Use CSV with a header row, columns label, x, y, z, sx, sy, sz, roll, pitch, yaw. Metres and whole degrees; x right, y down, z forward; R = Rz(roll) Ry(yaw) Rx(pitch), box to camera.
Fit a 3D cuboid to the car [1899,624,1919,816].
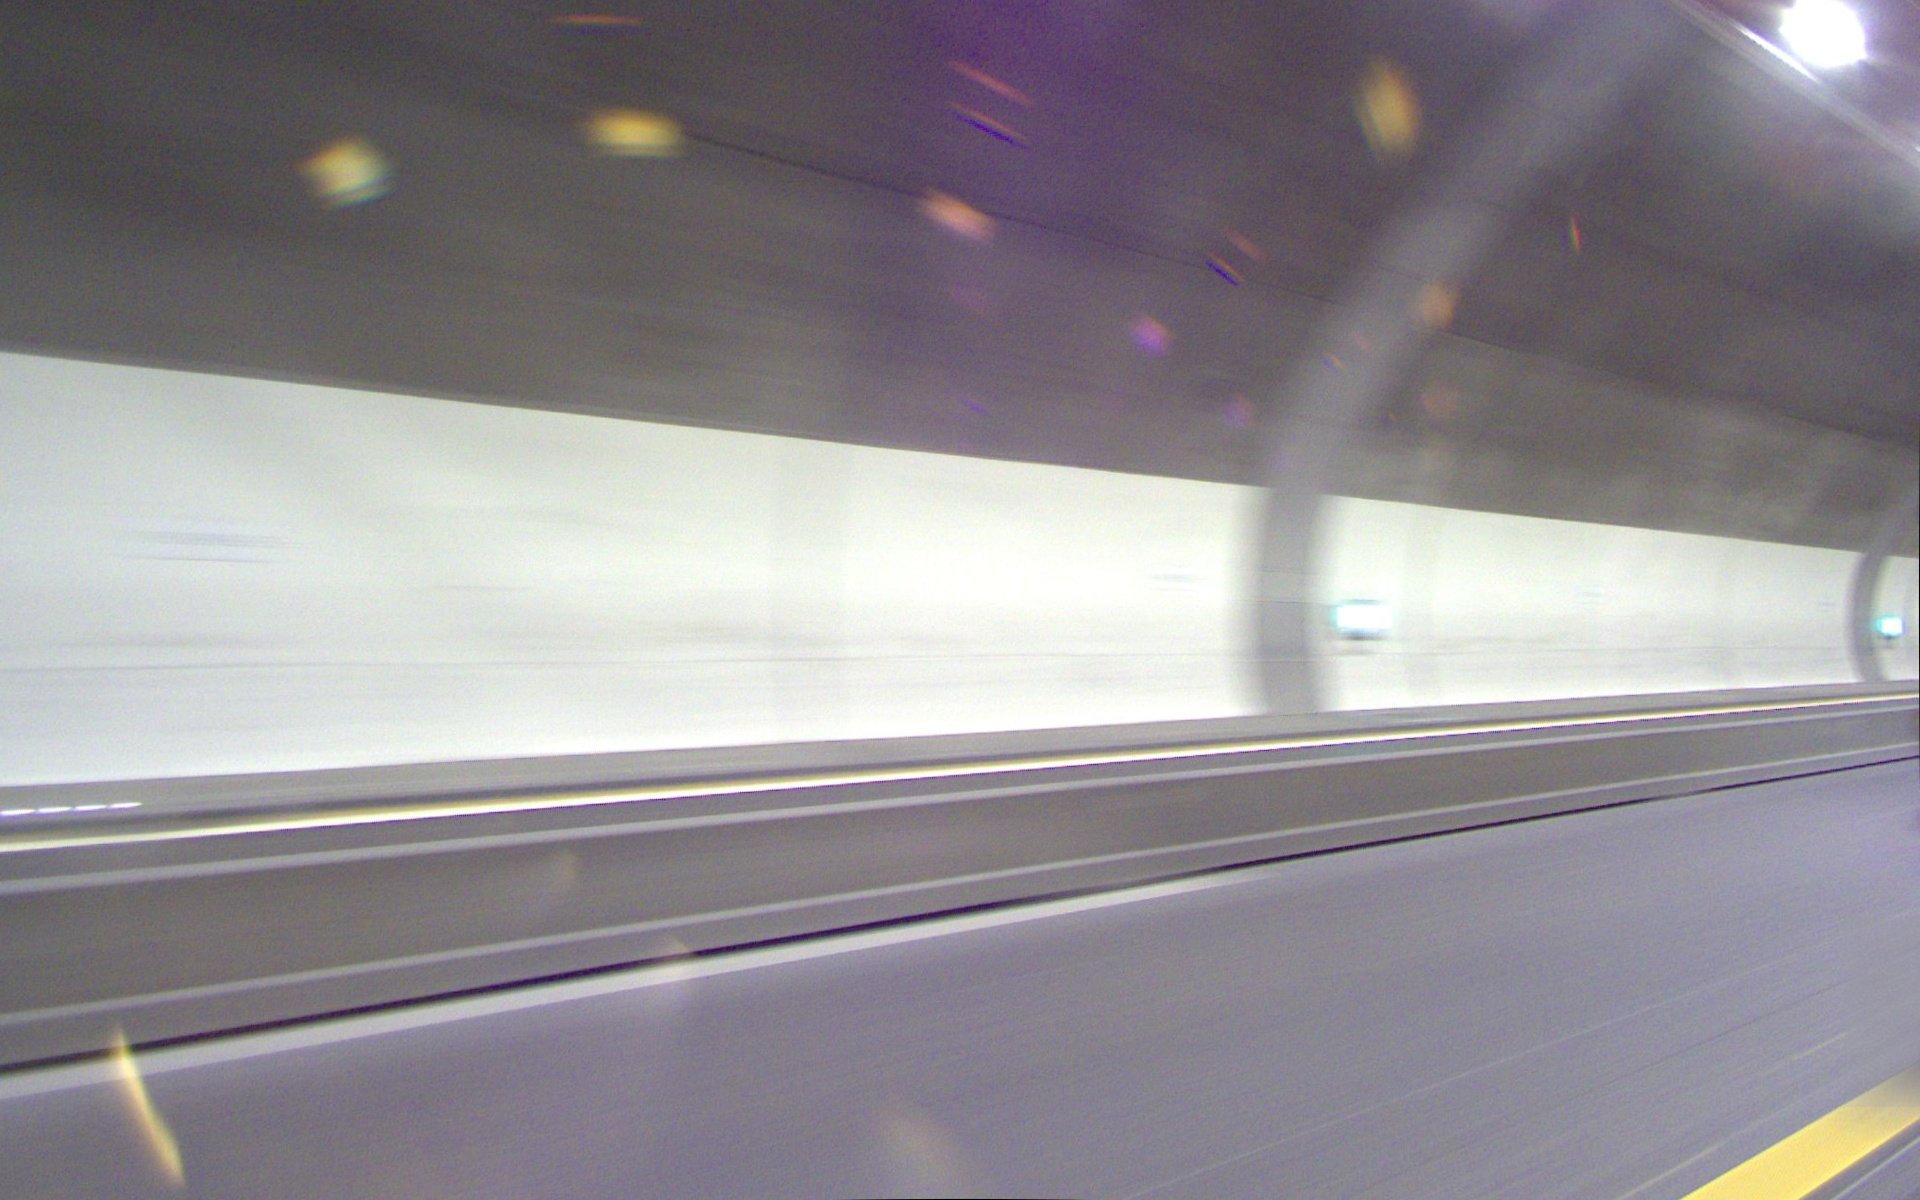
label,x,y,z,sx,sy,sz,roll,pitch,yaw
car,10.072,1.016,8.460,4.887,1.504,1.894,2,-1,-31
